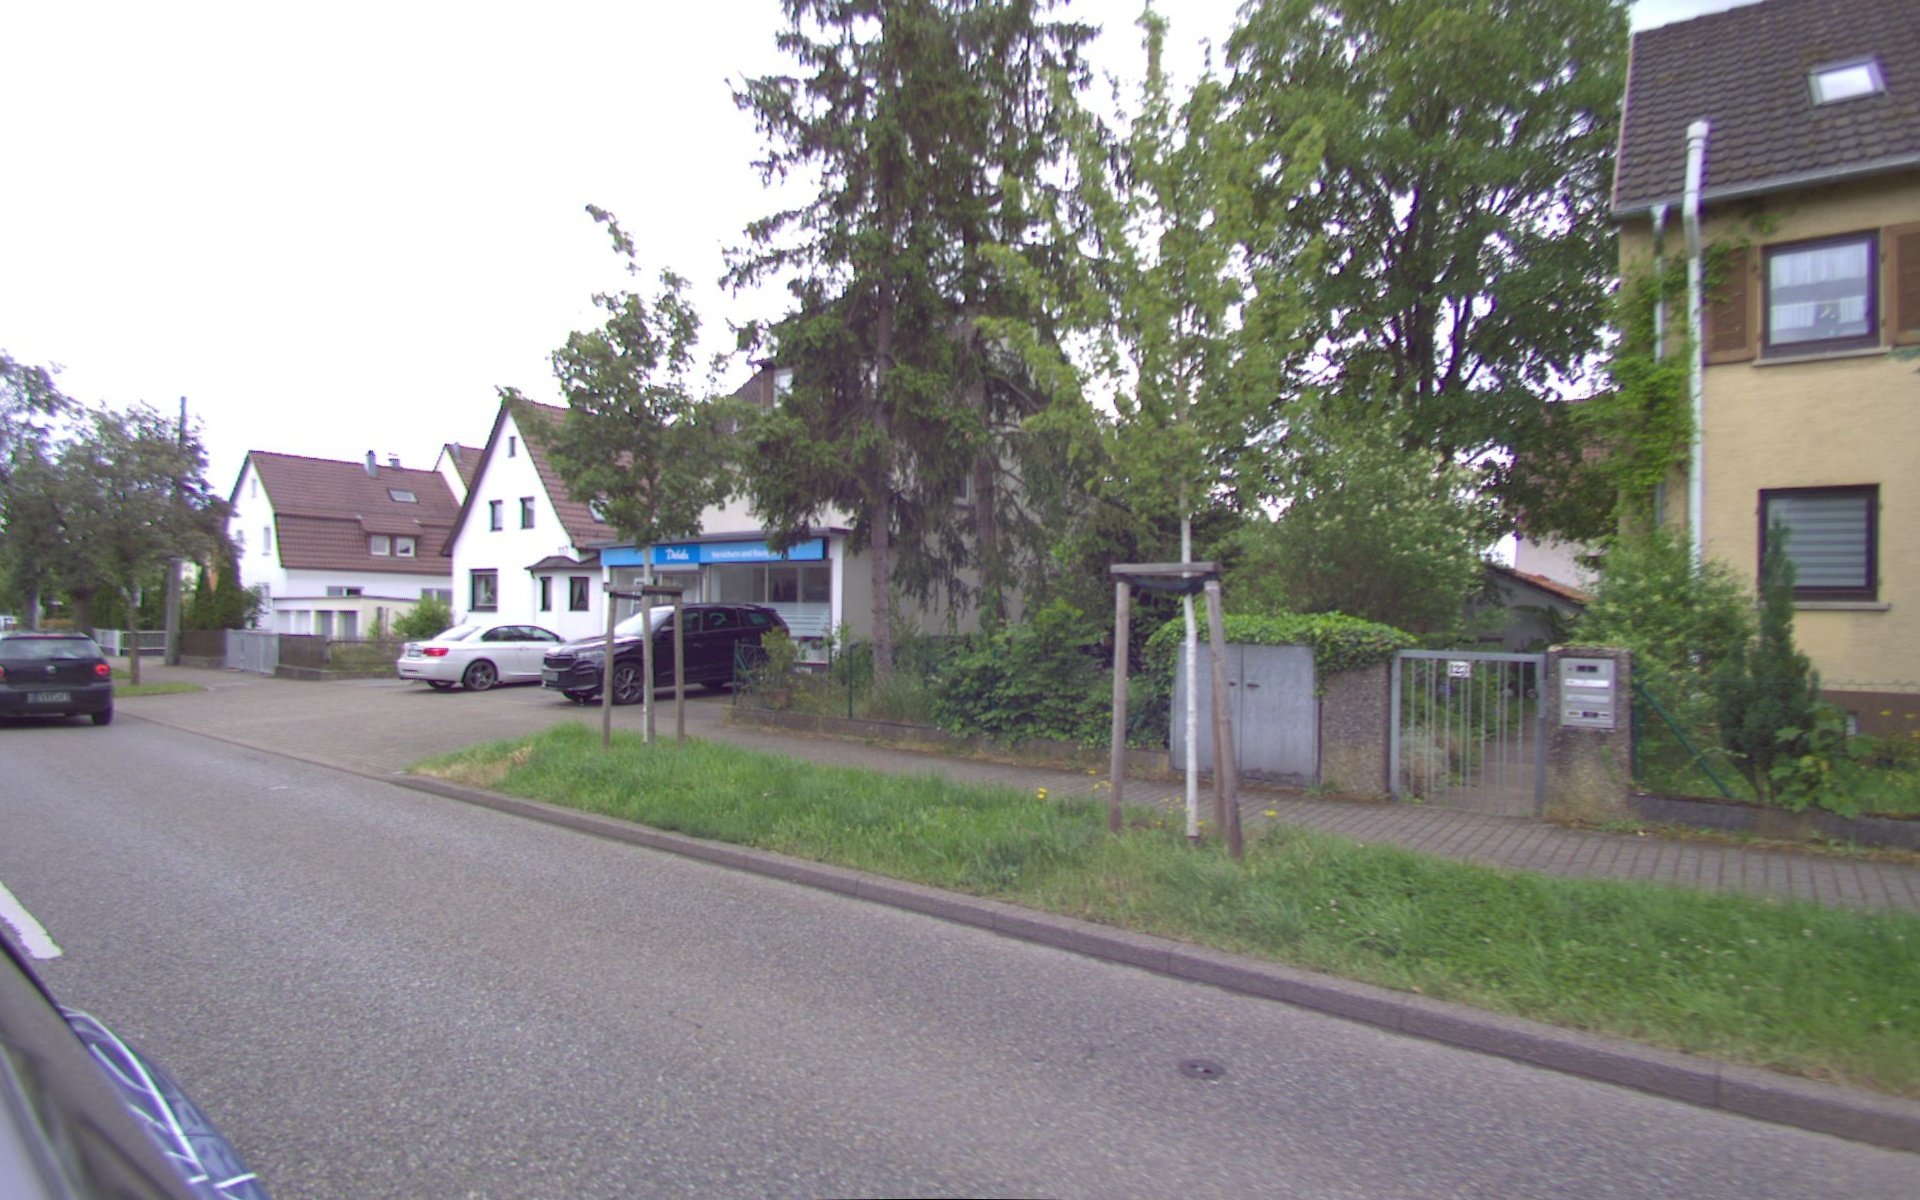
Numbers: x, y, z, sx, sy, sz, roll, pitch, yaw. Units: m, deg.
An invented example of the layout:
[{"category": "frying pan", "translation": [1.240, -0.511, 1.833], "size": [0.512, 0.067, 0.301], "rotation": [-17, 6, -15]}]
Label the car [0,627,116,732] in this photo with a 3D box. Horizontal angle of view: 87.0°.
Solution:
[{"category": "car", "translation": [-14.772, 1.186, 15.917], "size": [3.466, 1.483, 1.559], "rotation": [-1, -4, 38]}]

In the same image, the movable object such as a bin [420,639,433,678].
[{"category": "movable object such as a bin", "translation": [-13.561, 1.479, 25.724], "size": [0.428, 0.967, 0.131], "rotation": [-2, -1, 38]}]

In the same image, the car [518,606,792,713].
[{"category": "car", "translation": [-5.320, 0.949, 18.078], "size": [1.973, 1.630, 4.286], "rotation": [-1, 0, 43]}]

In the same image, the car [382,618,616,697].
[{"category": "car", "translation": [-9.744, 1.143, 21.702], "size": [1.812, 1.378, 4.241], "rotation": [-1, 1, 35]}]

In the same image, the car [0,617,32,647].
[{"category": "car", "translation": [-87.128, 2.798, 90.579], "size": [5.526, 2.583, 2.137], "rotation": [3, -3, -30]}]

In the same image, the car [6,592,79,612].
[{"category": "car", "translation": [-80.804, 0.207, 89.181], "size": [1.998, 1.633, 4.585], "rotation": [-3, -2, 40]}]
